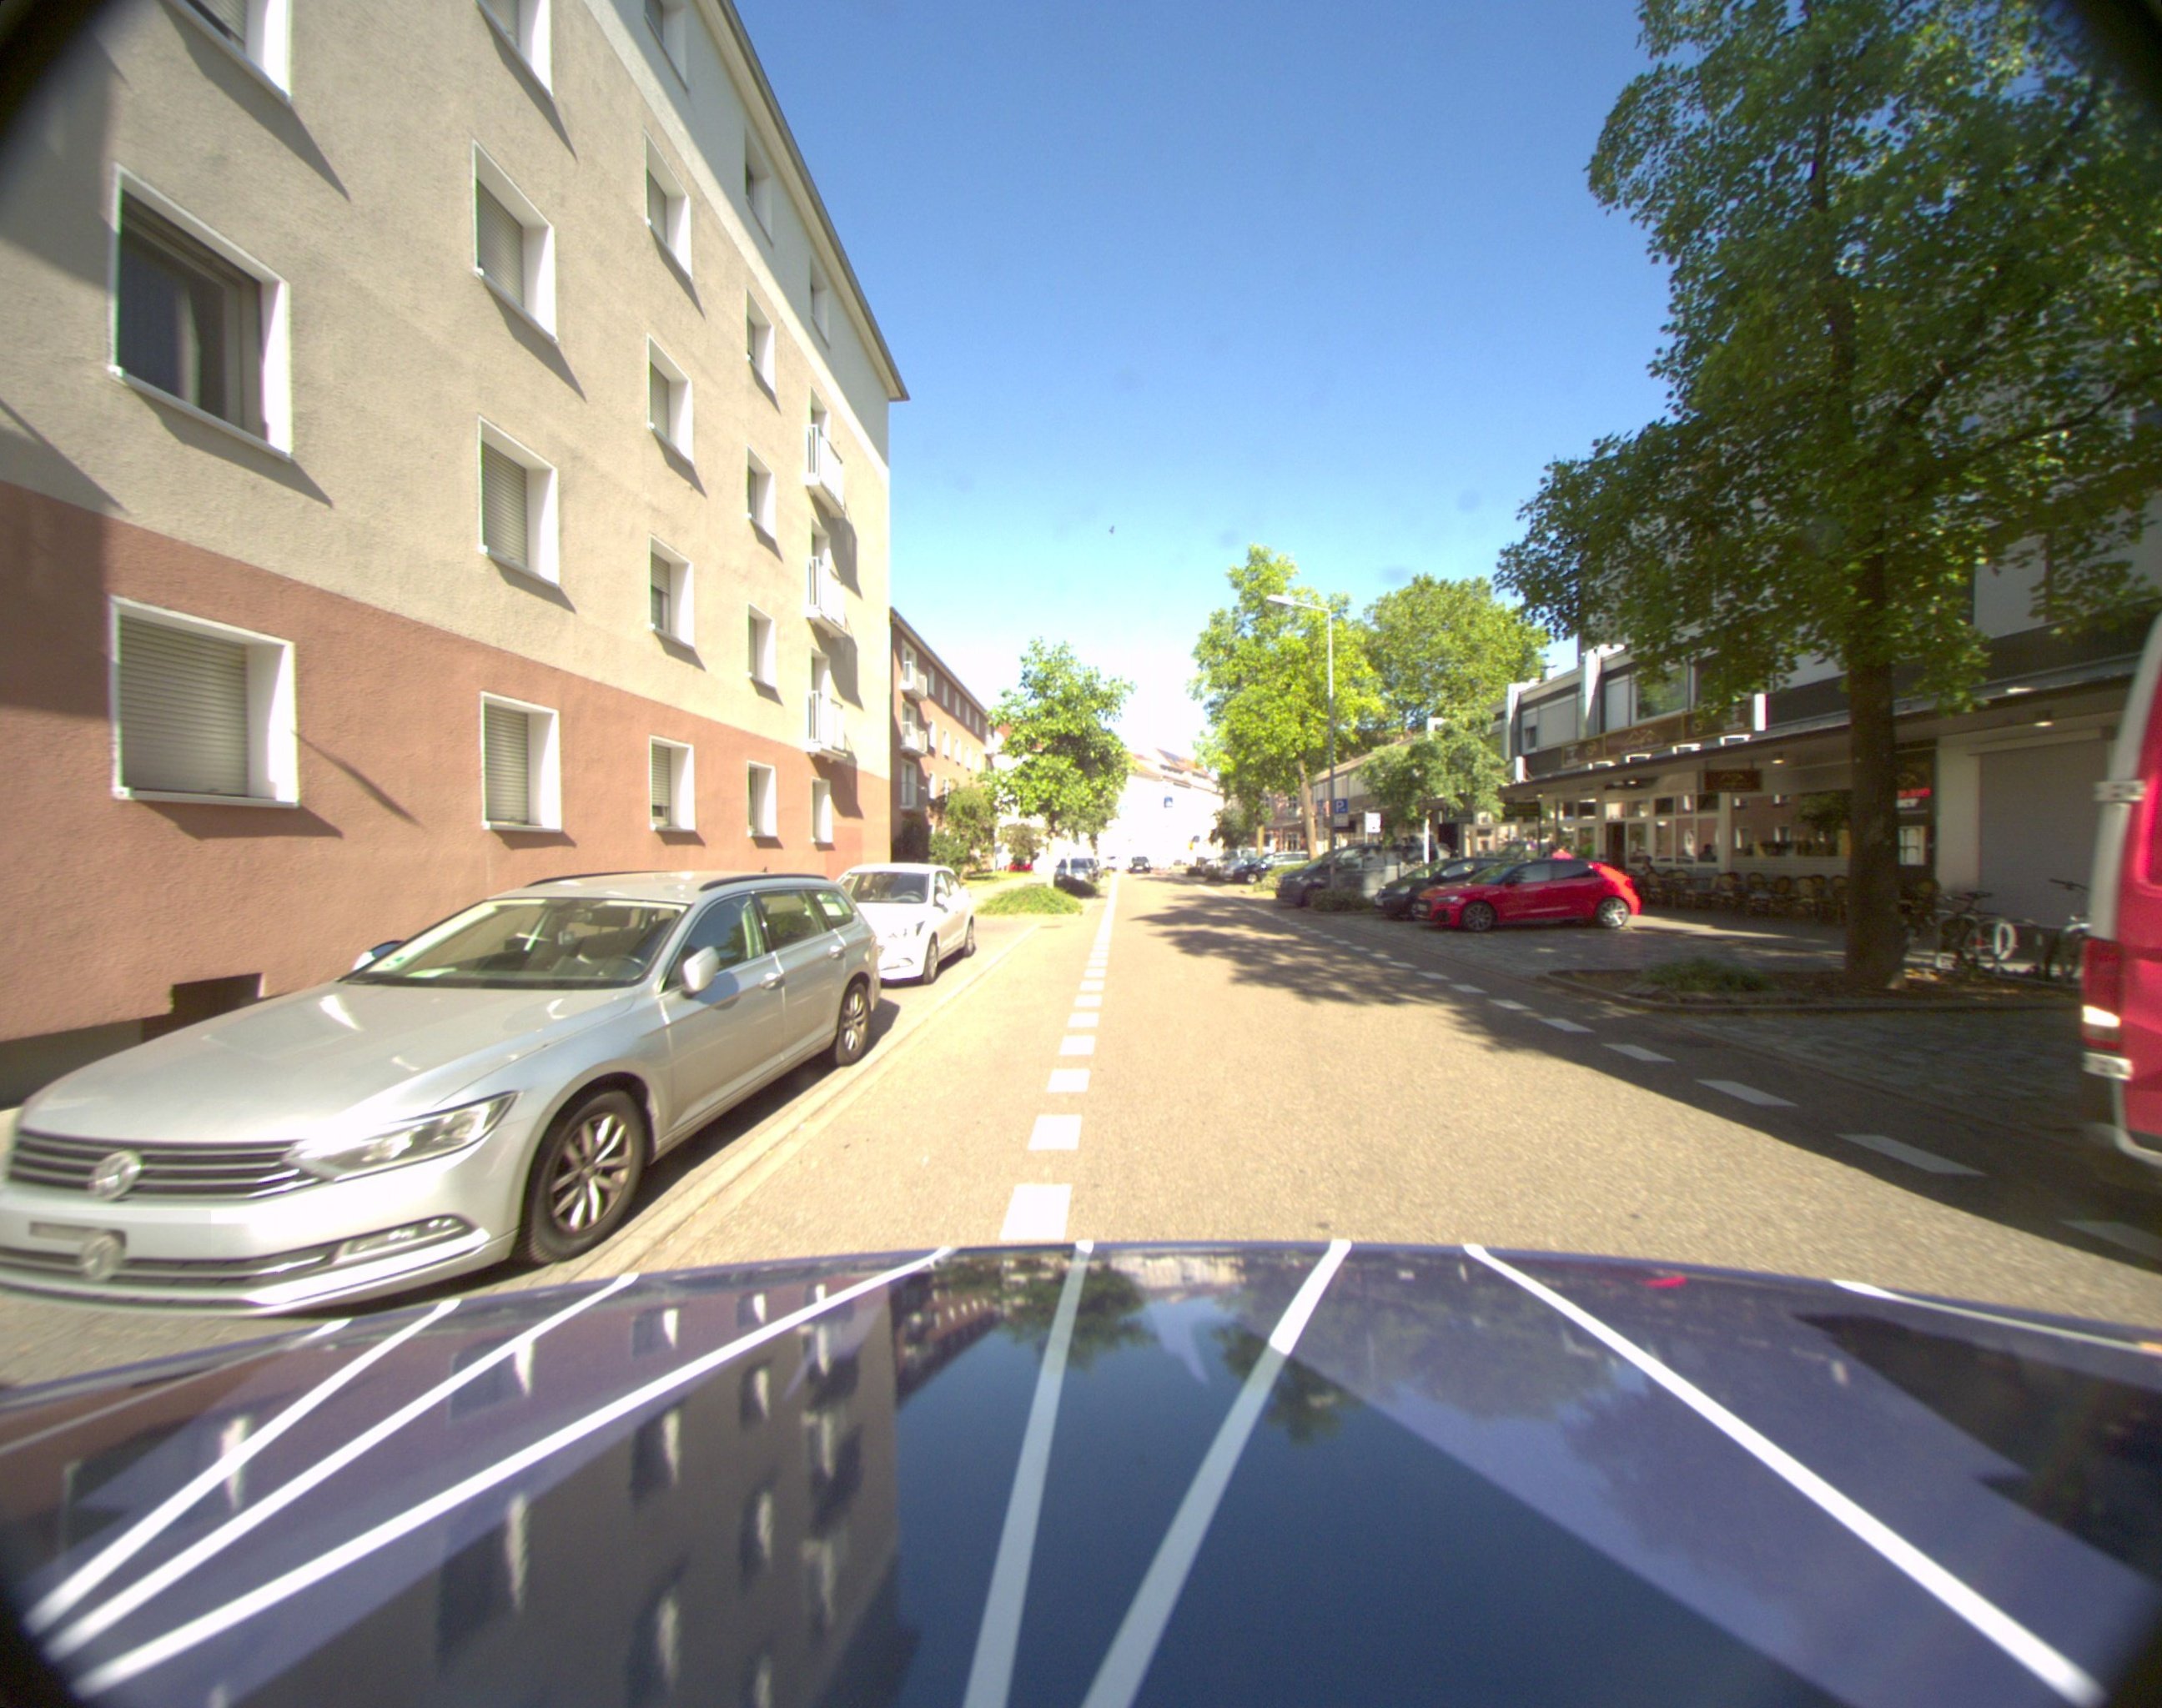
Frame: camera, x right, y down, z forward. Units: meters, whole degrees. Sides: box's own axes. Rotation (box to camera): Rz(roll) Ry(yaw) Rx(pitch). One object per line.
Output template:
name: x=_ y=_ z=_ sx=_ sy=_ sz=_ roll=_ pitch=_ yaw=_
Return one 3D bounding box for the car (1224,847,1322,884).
car: x=10.291 y=0.600 z=40.902 sx=4.780 sy=1.767 sz=1.874 roll=-2 pitch=0 yaw=1

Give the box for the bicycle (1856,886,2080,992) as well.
bicycle: x=10.253 y=0.971 z=8.835 sx=1.723 sy=1.110 sz=0.623 roll=-2 pitch=1 yaw=6

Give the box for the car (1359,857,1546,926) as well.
car: x=8.821 y=0.867 z=18.254 sx=3.675 sy=1.442 sz=1.613 roll=-2 pitch=0 yaw=0

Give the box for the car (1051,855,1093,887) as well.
car: x=-0.390 y=0.778 z=36.749 sx=1.720 sy=1.445 sz=4.001 roll=-1 pitch=0 yaw=4

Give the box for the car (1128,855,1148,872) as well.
car: x=4.982 y=0.855 z=66.294 sx=1.611 sy=1.444 sz=3.296 roll=0 pitch=0 yaw=2

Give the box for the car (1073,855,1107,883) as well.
car: x=0.557 y=0.802 z=42.862 sx=1.661 sy=1.473 sz=4.312 roll=0 pitch=0 yaw=4

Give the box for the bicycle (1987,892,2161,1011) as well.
bicycle: x=10.688 y=0.983 z=7.804 sx=1.872 sy=1.100 sz=0.587 roll=-2 pitch=1 yaw=6

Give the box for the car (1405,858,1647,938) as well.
car: x=9.004 y=0.864 z=15.630 sx=3.927 sy=1.442 sz=1.710 roll=-2 pitch=0 yaw=2

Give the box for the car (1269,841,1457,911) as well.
car: x=8.540 y=0.646 z=23.350 sx=5.042 sy=1.927 sz=1.873 roll=-2 pitch=0 yaw=2

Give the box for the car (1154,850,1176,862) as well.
car: x=10.367 y=0.259 z=93.178 sx=1.632 sy=1.412 sz=3.299 roll=-1 pitch=1 yaw=26

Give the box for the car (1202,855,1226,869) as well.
car: x=15.712 y=0.944 z=89.374 sx=1.670 sy=1.628 sz=4.055 roll=0 pitch=0 yaw=27

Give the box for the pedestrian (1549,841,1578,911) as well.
pedestrian: x=11.925 y=0.530 z=18.777 sx=0.579 sy=1.702 sz=0.636 roll=0 pitch=1 yaw=31

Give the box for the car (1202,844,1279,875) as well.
car: x=11.134 y=0.384 z=53.243 sx=4.994 sy=1.958 sz=1.910 roll=-1 pitch=0 yaw=1

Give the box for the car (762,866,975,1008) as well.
car: x=-2.665 y=0.963 z=10.456 sx=1.735 sy=1.477 sz=3.795 roll=1 pitch=0 yaw=2

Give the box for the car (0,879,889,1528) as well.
car: x=-2.726 y=0.969 z=4.251 sx=1.789 sy=1.451 sz=4.518 roll=1 pitch=0 yaw=5

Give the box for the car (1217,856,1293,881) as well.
car: x=9.917 y=0.804 z=43.455 sx=3.997 sy=1.390 sz=1.760 roll=0 pitch=0 yaw=1

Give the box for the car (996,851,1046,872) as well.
car: x=-5.780 y=0.733 z=73.520 sx=4.755 sy=2.002 sz=2.000 roll=0 pitch=0 yaw=-1

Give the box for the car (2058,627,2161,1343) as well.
car: x=7.073 y=0.428 z=3.025 sx=6.610 sy=2.459 sz=1.996 roll=0 pitch=0 yaw=-20

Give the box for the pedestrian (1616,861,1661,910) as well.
pedestrian: x=14.479 y=0.816 z=19.744 sx=0.650 sy=1.239 sz=0.746 roll=0 pitch=1 yaw=3

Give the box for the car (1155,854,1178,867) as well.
car: x=9.750 y=0.718 z=86.346 sx=1.632 sy=1.412 sz=3.300 roll=0 pitch=0 yaw=26

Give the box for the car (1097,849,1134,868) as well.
car: x=3.646 y=0.474 z=79.195 sx=1.908 sy=1.924 sz=4.818 roll=0 pitch=0 yaw=29

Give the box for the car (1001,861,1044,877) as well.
car: x=-5.195 y=1.309 z=68.096 sx=3.647 sy=1.394 sz=1.568 roll=0 pitch=0 yaw=3

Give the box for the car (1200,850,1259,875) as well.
car: x=10.860 y=0.584 z=55.837 sx=3.996 sy=1.781 sz=1.758 roll=0 pitch=0 yaw=2
